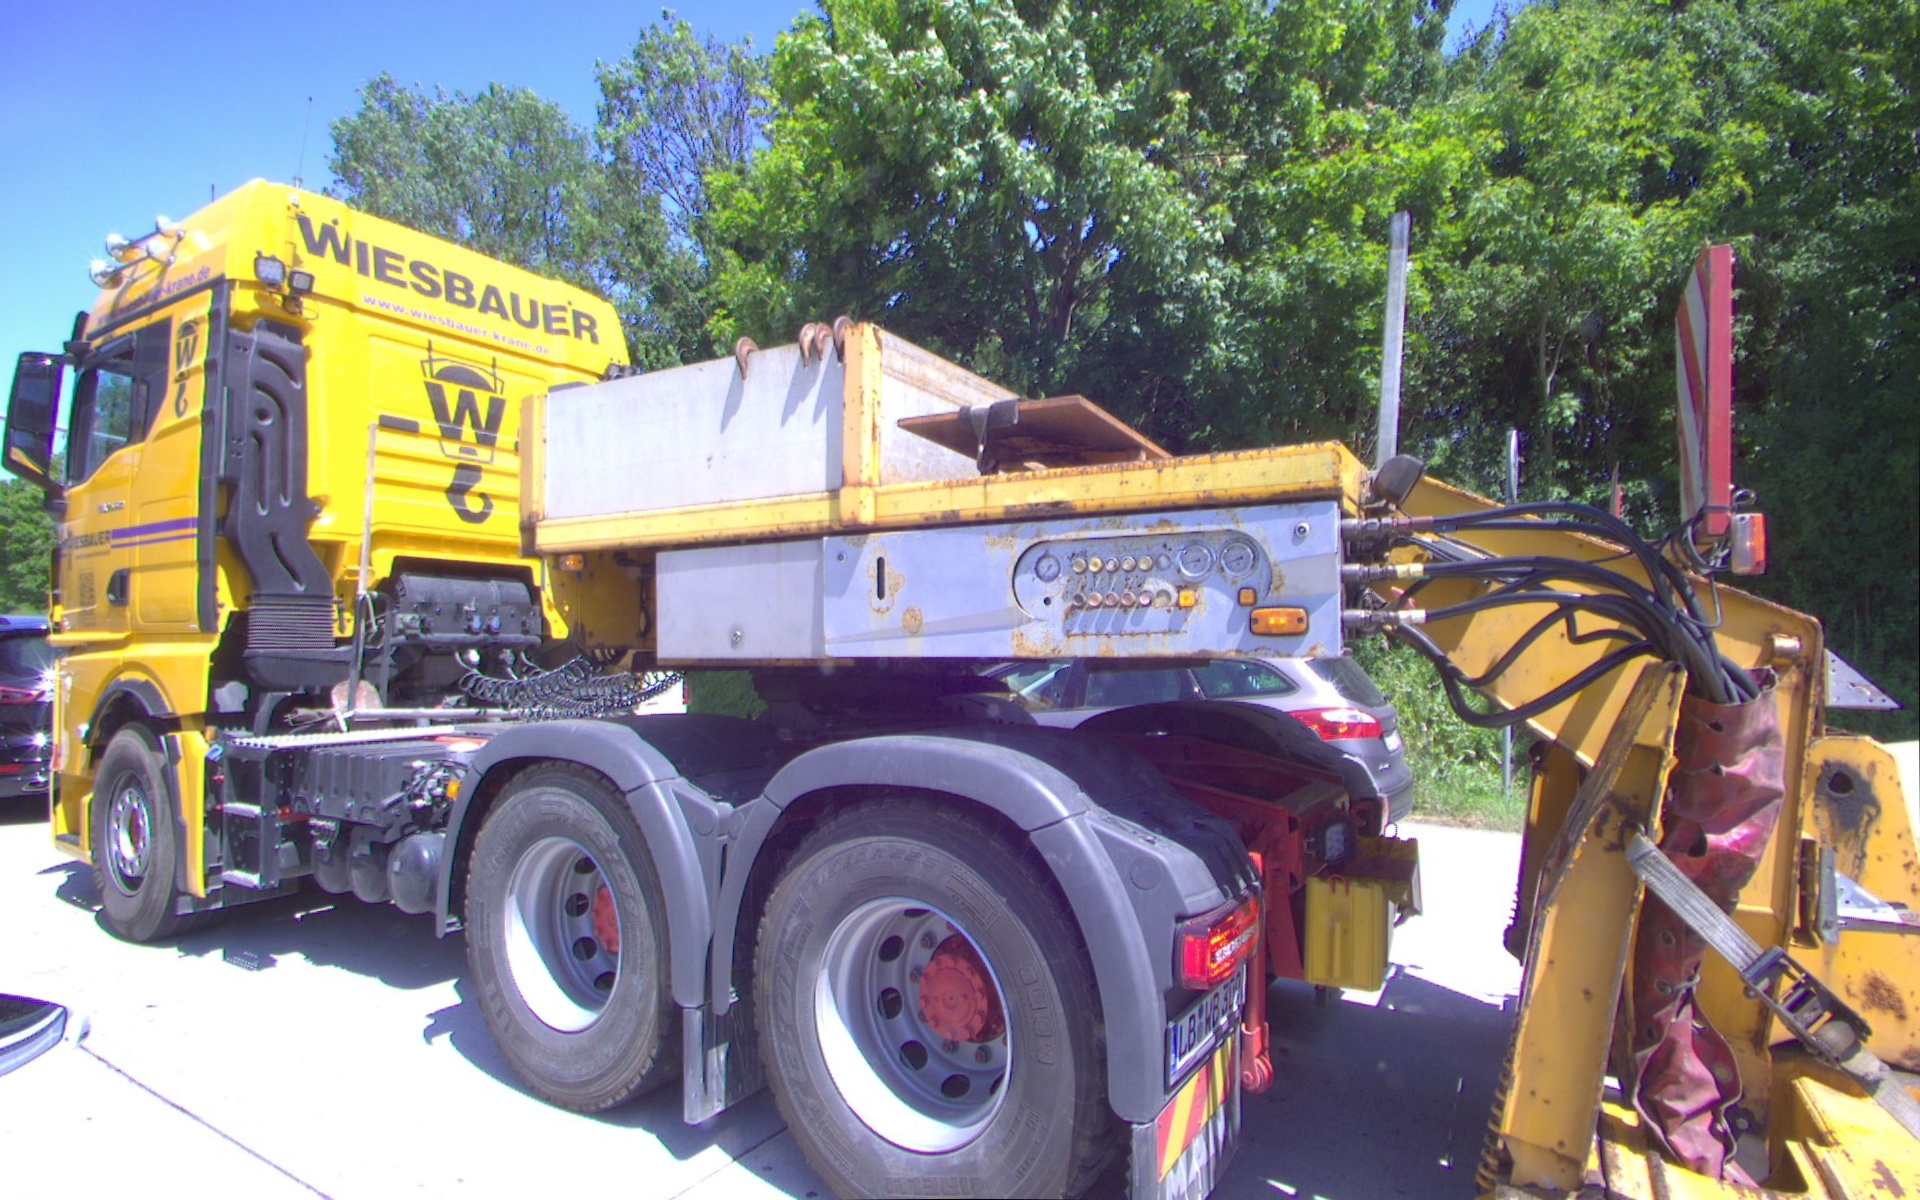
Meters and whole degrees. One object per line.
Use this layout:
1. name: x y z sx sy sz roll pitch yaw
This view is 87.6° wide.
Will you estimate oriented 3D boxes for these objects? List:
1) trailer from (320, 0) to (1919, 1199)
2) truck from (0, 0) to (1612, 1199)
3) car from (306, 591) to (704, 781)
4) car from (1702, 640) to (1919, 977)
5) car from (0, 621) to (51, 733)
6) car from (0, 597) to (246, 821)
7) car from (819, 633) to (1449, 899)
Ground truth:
1. trailer: 5.431 0.197 0.612 16.117 2.626 3.023 -1 -2 31
2. truck: -1.385 -0.330 4.765 7.361 3.821 3.010 -1 -2 31
3. car: -5.349 0.904 11.615 4.720 1.830 1.766 -1 -2 29
4. car: 6.155 0.923 4.333 4.530 1.481 1.766 -1 -2 30
5. car: -14.375 1.029 13.826 4.548 1.428 1.763 -2 -2 35
6. car: -8.639 0.878 9.265 4.583 1.660 1.780 -1 -2 33
7. car: 1.183 0.997 7.462 4.300 1.481 1.765 -1 -2 31
